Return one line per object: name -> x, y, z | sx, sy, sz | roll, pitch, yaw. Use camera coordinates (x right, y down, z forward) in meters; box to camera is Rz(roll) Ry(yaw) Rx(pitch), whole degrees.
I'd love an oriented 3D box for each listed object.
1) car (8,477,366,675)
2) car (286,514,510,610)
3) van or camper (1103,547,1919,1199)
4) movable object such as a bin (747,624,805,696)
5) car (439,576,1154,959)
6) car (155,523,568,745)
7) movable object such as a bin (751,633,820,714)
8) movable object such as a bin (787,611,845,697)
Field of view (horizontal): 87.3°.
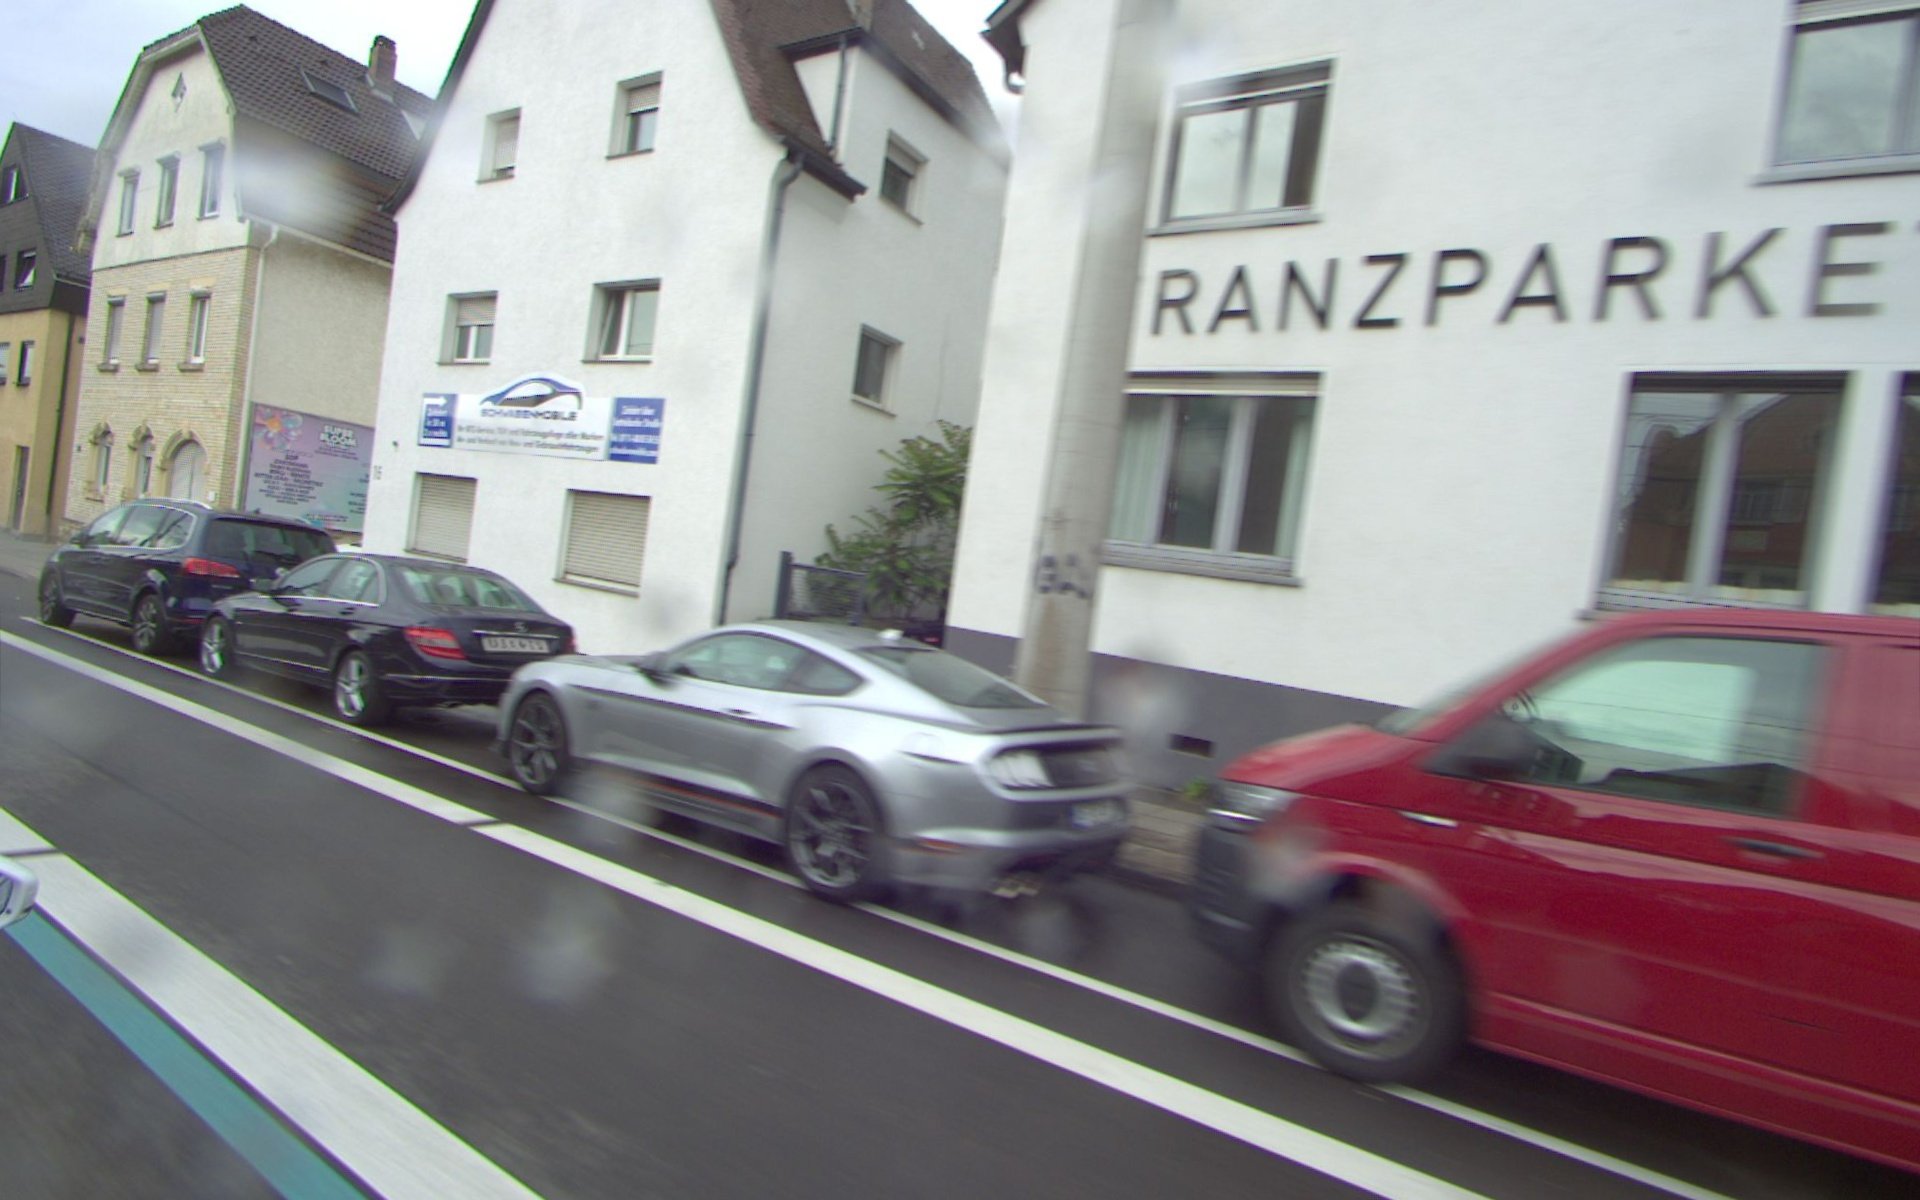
car -> -9.613, -0.344, 12.417 | 4.609, 1.820, 1.843 | 7, -3, 32
car -> -12.757, -0.811, 23.077 | 1.839, 1.674, 3.992 | 8, 1, 30
van or camper -> 3.245, 1.049, 3.659 | 4.913, 1.944, 1.853 | 7, 0, 33
movable object such as a bin -> -2.452, 0.798, 13.389 | 0.504, 0.890, 0.447 | 7, 1, 29
car -> -1.285, 0.817, 6.646 | 4.596, 1.392, 1.798 | 6, -1, 35
car -> -5.920, 0.285, 9.822 | 4.067, 1.555, 1.638 | 7, -3, 32
movable object such as a bin -> -2.067, 0.867, 11.908 | 0.440, 0.890, 0.587 | 7, 1, 31
movable object such as a bin -> -1.985, 0.749, 13.901 | 0.504, 1.118, 0.447 | 7, 1, 29
